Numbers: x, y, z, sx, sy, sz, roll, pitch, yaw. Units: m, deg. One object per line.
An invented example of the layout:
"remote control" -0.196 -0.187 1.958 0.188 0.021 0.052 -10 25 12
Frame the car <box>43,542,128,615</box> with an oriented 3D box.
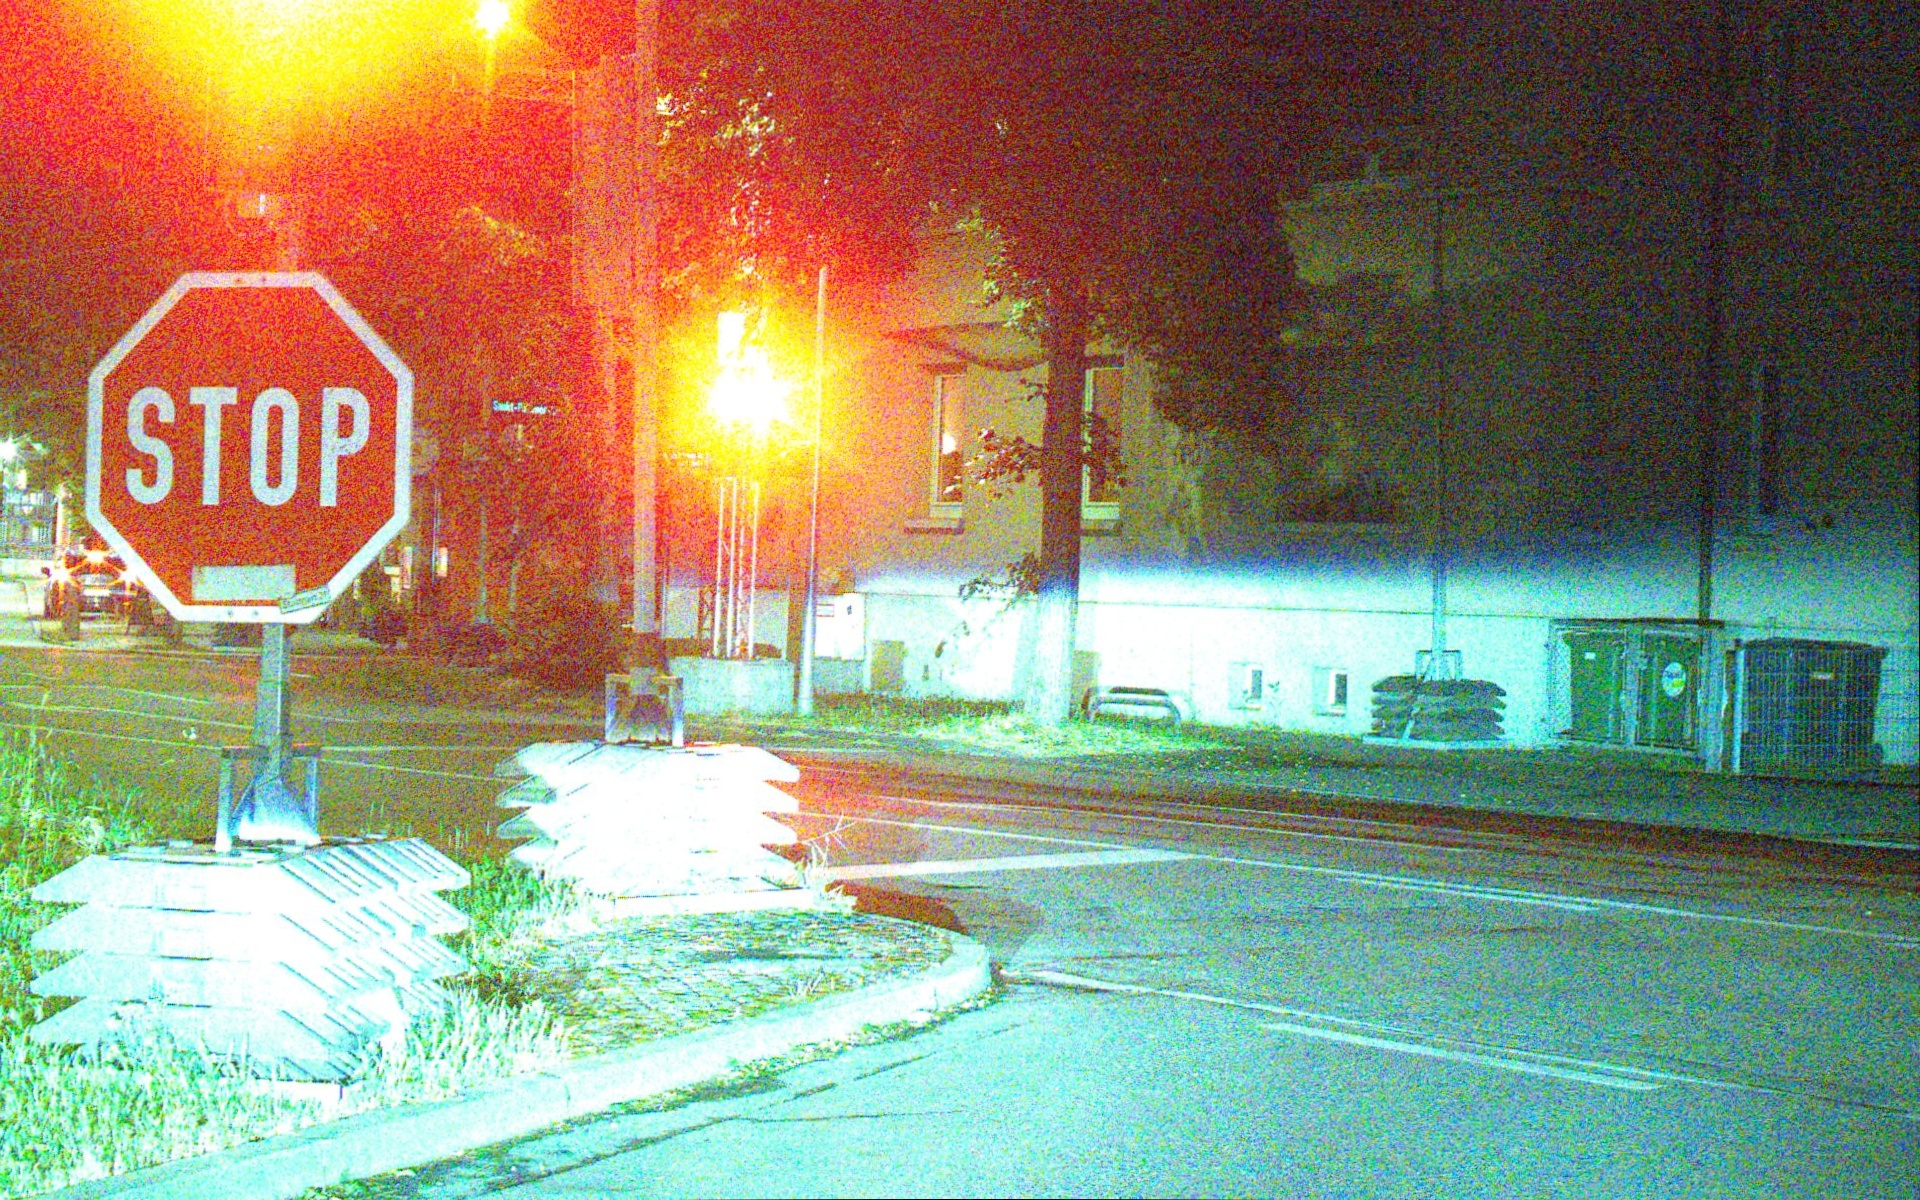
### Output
"car" -18.273 -0.470 71.897 1.651 1.426 4.001 2 1 -14
